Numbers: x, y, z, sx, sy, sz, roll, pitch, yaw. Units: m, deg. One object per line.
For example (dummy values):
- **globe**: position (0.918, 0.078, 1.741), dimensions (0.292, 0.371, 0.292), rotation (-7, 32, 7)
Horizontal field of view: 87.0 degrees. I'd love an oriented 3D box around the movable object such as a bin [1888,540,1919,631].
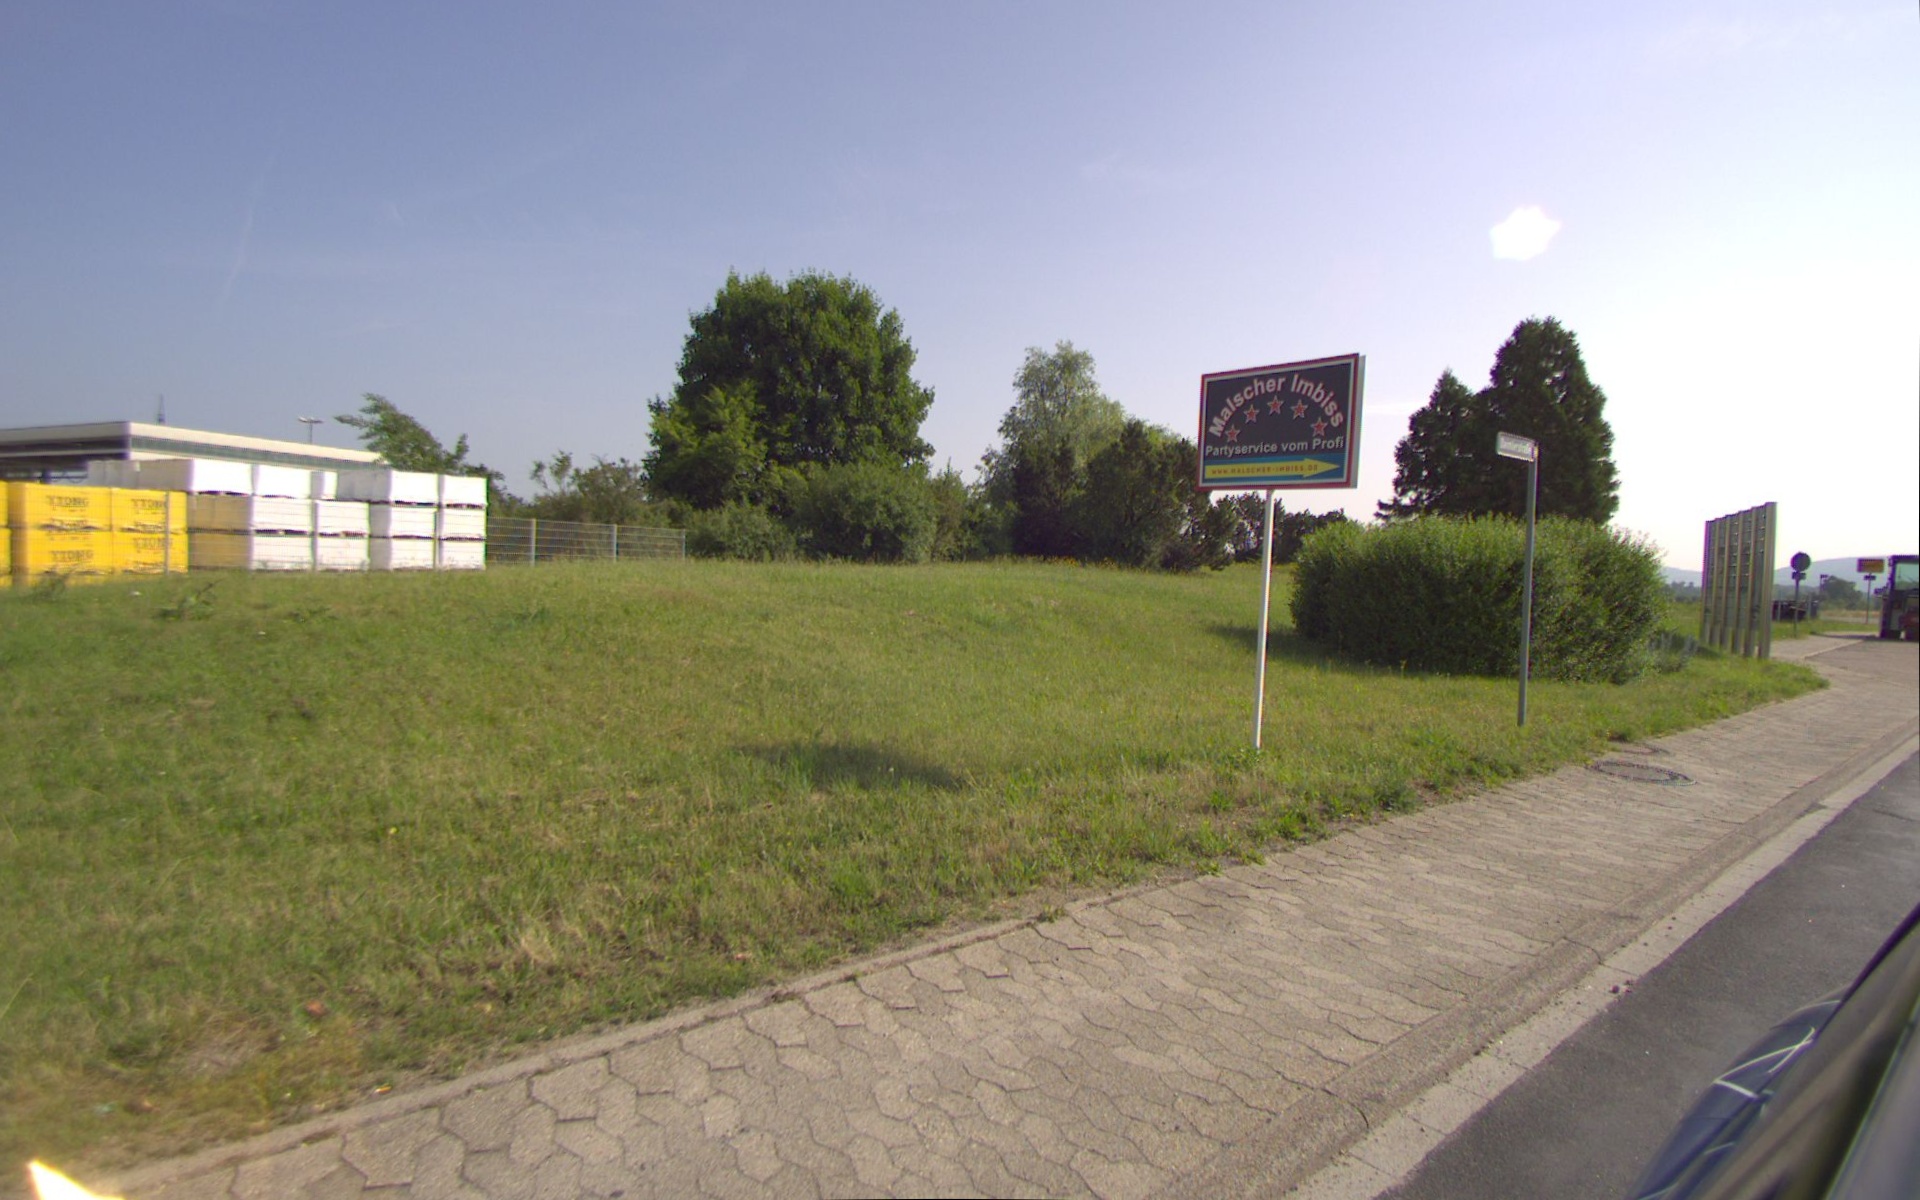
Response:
- **movable object such as a bin**: position (34.679, -0.435, 35.821), dimensions (2.428, 3.048, 5.667), rotation (5, 4, 42)
